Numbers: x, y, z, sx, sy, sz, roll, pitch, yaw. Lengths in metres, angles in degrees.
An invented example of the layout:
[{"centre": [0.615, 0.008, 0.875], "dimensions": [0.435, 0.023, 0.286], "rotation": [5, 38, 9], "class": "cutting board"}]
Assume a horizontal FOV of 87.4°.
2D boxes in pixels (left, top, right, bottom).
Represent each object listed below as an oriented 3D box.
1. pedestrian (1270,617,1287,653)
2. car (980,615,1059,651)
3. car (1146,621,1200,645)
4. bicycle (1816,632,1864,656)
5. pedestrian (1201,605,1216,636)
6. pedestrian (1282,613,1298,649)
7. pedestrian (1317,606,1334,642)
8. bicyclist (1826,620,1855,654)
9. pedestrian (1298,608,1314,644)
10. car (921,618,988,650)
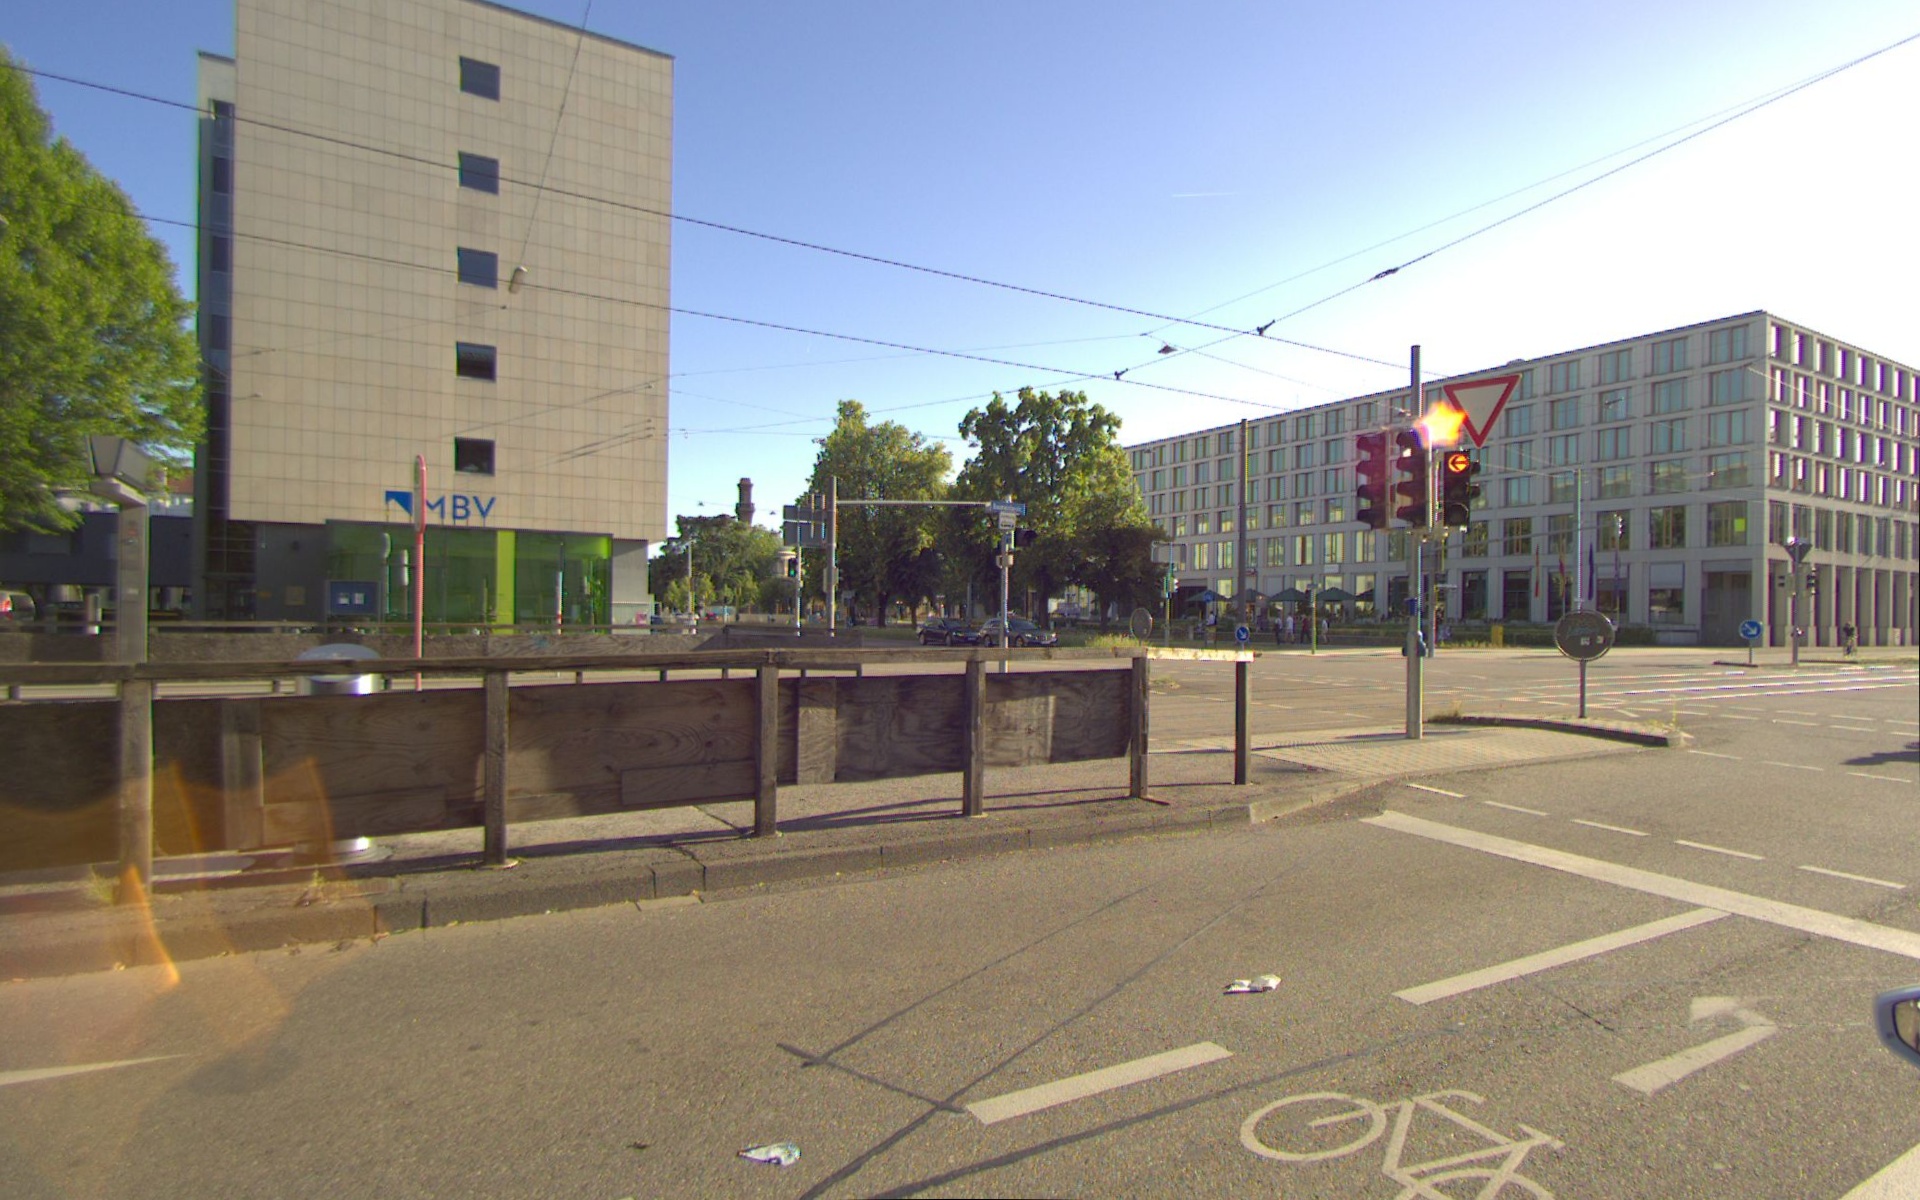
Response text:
[{"centre": [18.140, 2.001, 57.232], "dimensions": [0.793, 2.040, 0.526], "rotation": [1, -1, -36], "class": "pedestrian"}, {"centre": [2.782, 1.535, 47.515], "dimensions": [1.708, 1.595, 4.140], "rotation": [1, -1, -31], "class": "car"}, {"centre": [13.417, 2.069, 63.326], "dimensions": [1.457, 1.457, 3.162], "rotation": [1, -1, -36], "class": "car"}, {"centre": [43.644, 2.170, 49.806], "dimensions": [2.976, 1.136, 0.871], "rotation": [1, -1, -29], "class": "bicycle"}, {"centre": [15.477, 1.295, 62.519], "dimensions": [0.672, 1.928, 0.560], "rotation": [1, -1, -21], "class": "pedestrian"}, {"centre": [19.028, 1.769, 57.931], "dimensions": [0.793, 2.040, 0.526], "rotation": [1, -1, -36], "class": "pedestrian"}, {"centre": [20.727, 1.381, 56.999], "dimensions": [0.793, 2.040, 0.526], "rotation": [1, -1, -36], "class": "pedestrian"}, {"centre": [43.637, 1.829, 49.793], "dimensions": [0.812, 1.663, 0.872], "rotation": [1, -1, -29], "class": "bicyclist"}, {"centre": [19.777, 1.485, 57.454], "dimensions": [0.793, 2.040, 0.526], "rotation": [1, -1, -36], "class": "pedestrian"}, {"centre": [-0.349, 1.788, 53.338], "dimensions": [1.801, 1.595, 3.967], "rotation": [0, 0, -31], "class": "car"}]
